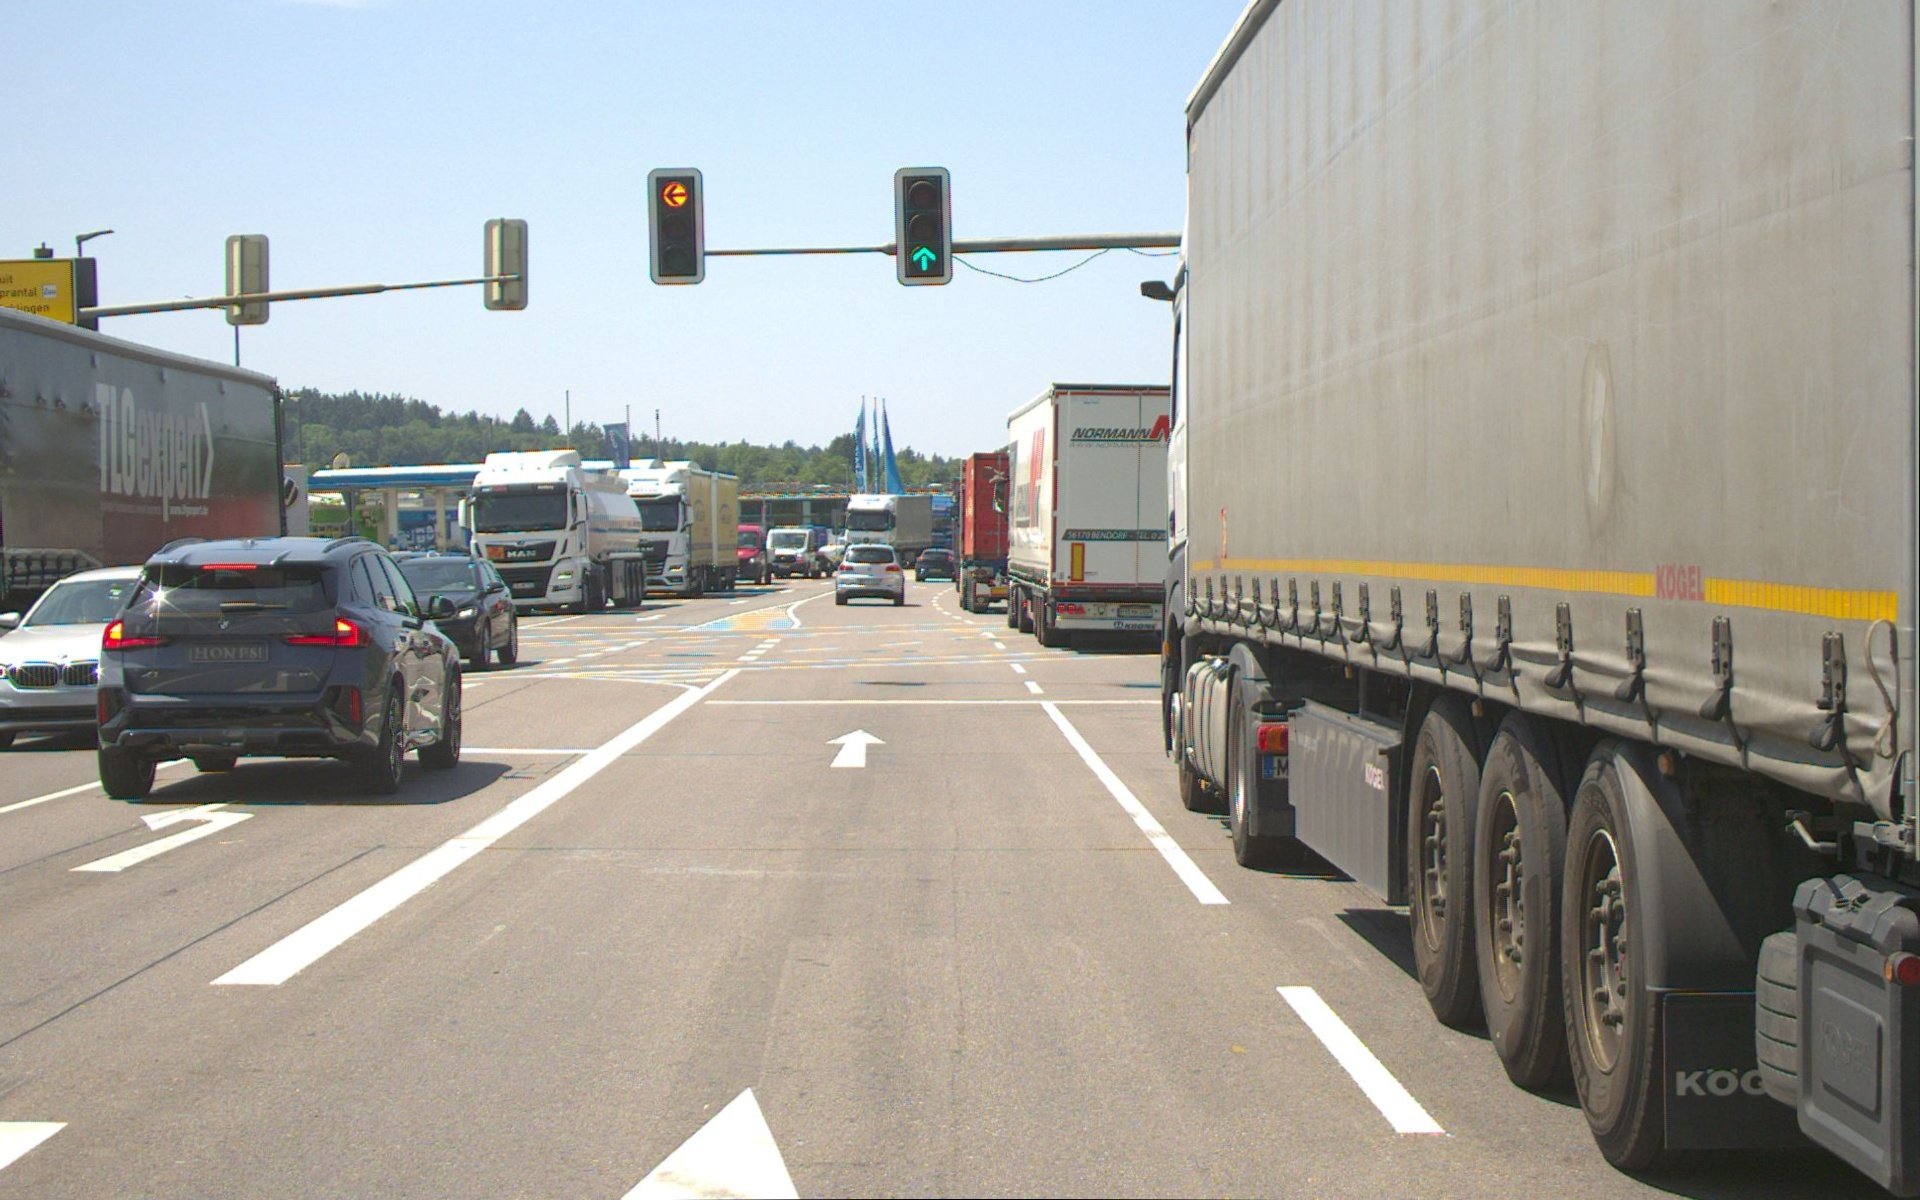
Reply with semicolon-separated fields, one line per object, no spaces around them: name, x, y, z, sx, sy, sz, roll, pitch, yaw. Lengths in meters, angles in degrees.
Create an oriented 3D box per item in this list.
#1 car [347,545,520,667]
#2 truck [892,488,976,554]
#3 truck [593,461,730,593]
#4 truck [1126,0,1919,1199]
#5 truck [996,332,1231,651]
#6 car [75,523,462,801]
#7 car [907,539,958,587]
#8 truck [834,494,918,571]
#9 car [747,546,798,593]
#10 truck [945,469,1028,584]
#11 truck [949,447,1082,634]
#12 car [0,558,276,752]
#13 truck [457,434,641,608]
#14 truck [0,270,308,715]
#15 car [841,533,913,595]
car;-7.011;0.049;46.065;1.664;1.503;3.905;-2;1;0
truck;-1.549;-4.914;215.249;3.272;3.936;13.861;-2;1;7
truck;-9.543;-2.311;111.465;2.934;3.936;13.865;-2;1;1
truck;2.618;-0.525;13.593;2.755;4.623;16.655;0;0;-1
truck;2.316;-1.540;58.204;2.875;4.623;16.655;0;0;-1
car;-4.481;0.347;22.896;1.793;1.621;4.370;-2;1;-2
car;-1.169;-1.601;148.778;1.994;2.007;4.000;-1;1;2
truck;-4.592;-3.671;191.639;3.271;3.937;13.862;0;0;4
car;-8.296;-1.344;152.264;1.905;2.007;4.000;0;0;2
truck;0.849;-2.440;117.906;2.608;3.704;9.449;0;0;-1
truck;1.302;-1.391;90.489;2.875;4.463;16.655;0;0;-1
car;-7.352;0.414;29.868;1.810;1.503;4.947;-2;1;0
truck;-10.140;-1.914;86.419;2.934;3.936;14.238;-2;1;0
truck;-10.830;-1.117;39.117;3.146;4.334;17.543;-2;1;1
car;-2.250;-0.982;94.088;1.804;1.664;4.291;0;1;1
